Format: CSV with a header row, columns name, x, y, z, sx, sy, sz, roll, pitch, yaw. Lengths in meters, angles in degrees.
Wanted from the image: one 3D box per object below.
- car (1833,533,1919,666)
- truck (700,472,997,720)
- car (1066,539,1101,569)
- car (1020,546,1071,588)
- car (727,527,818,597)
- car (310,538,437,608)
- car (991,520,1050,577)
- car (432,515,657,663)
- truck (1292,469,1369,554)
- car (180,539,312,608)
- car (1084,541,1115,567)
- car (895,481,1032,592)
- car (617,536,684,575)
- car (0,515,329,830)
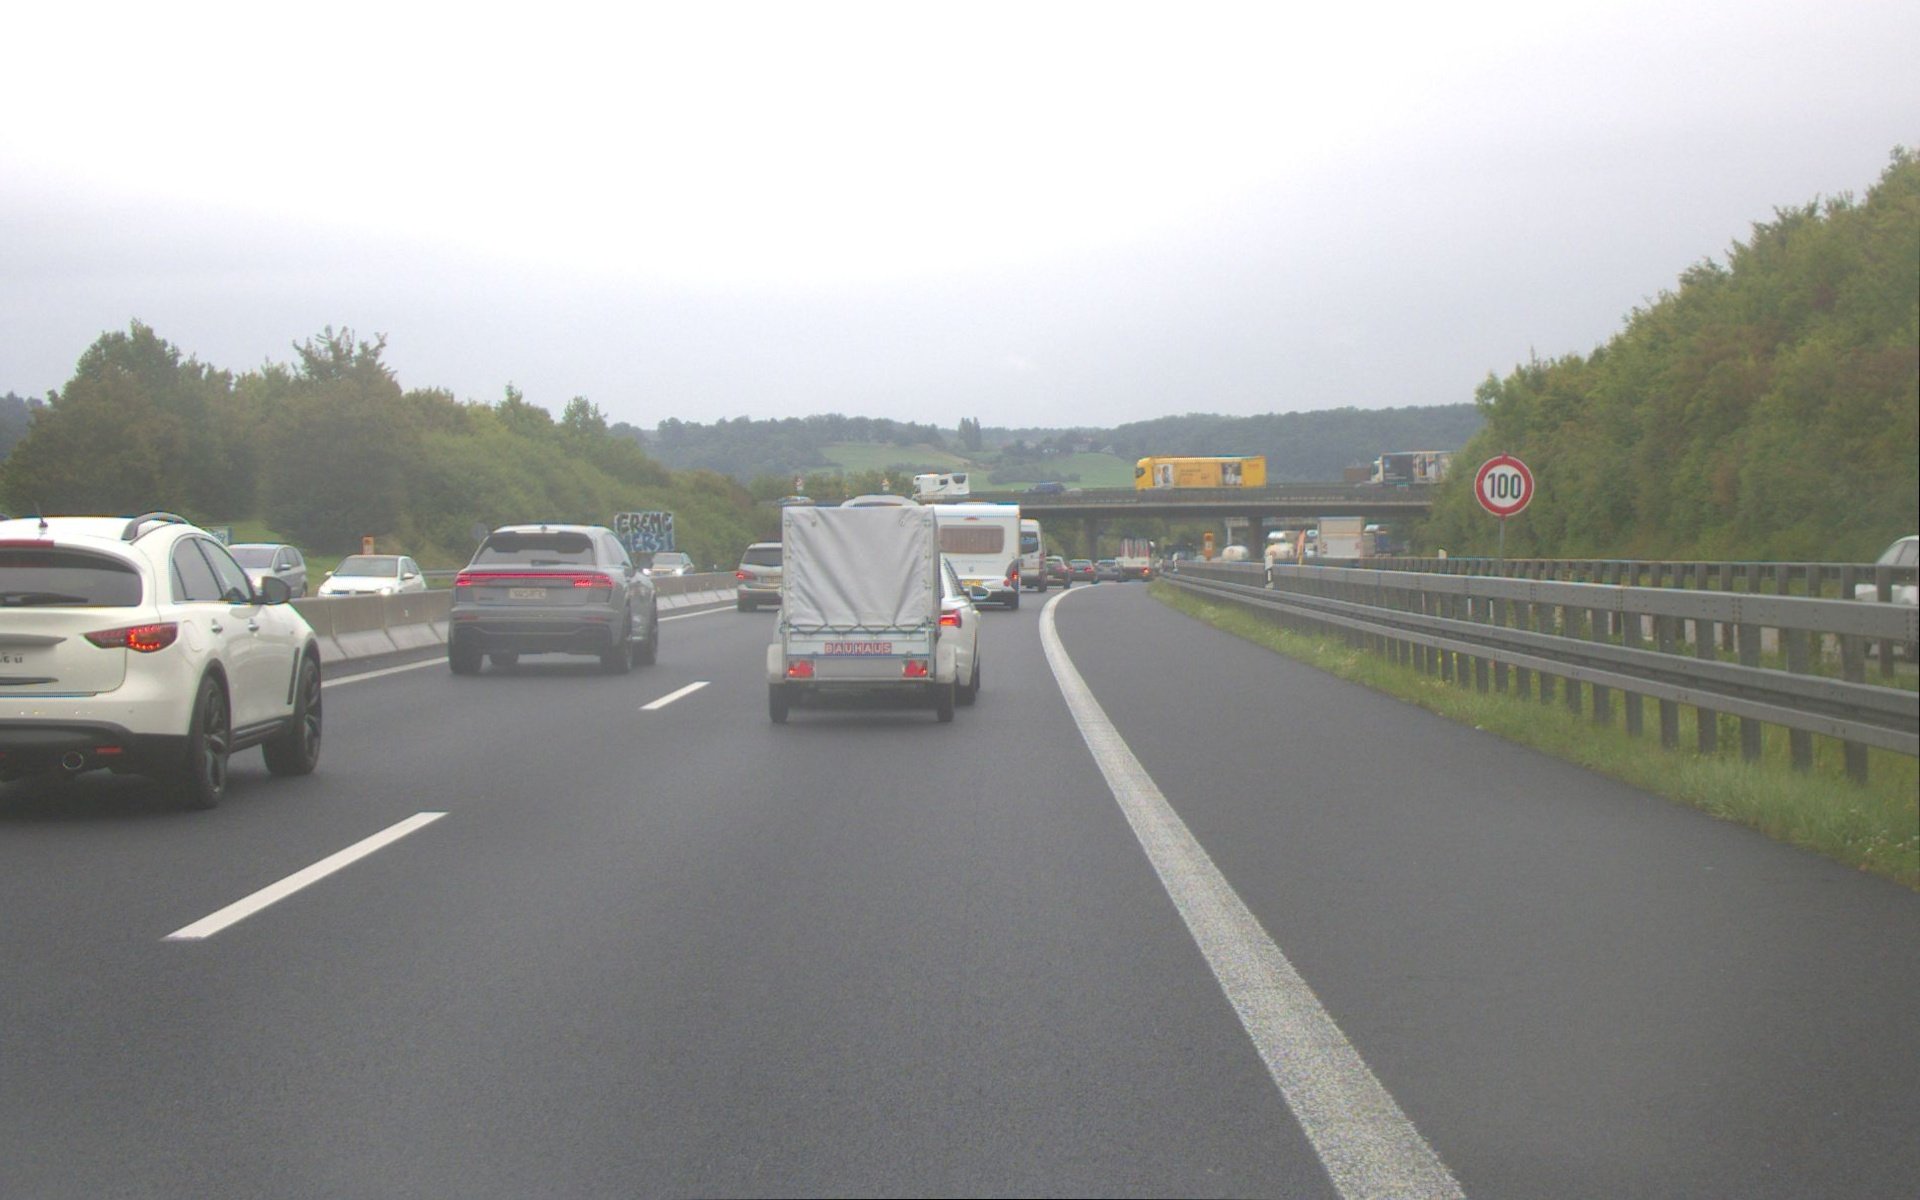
name,x,y,z,sx,sy,sz,roll,pitch,yaw
car,11.314,-0.036,38.887,1.860,1.442,4.158,0,1,1
truck,-0.854,-0.103,31.117,2.019,1.979,7.212,0,1,3
car,7.313,-2.727,203.337,1.994,1.744,4.000,1,1,3
car,3.643,-1.426,147.458,1.993,1.744,4.000,1,1,-1
car,-4.372,-0.916,80.766,1.900,1.607,4.017,0,1,0
car,-13.074,-0.630,76.861,1.983,1.501,4.140,0,1,2
car,2.236,-1.906,127.253,1.993,2.029,4.152,1,1,-1
car,-4.807,-0.158,40.352,2.174,1.626,4.501,0,1,-1
truck,22.765,-5.439,211.889,4.094,5.086,10.463,0,1,3
car,-17.544,-0.683,84.703,2.180,1.629,4.537,0,1,2
car,9.527,-3.167,234.884,1.994,1.744,4.000,1,1,4
car,0.153,-1.577,84.722,3.017,2.607,6.074,0,1,3
car,-13.856,-2.001,154.145,2.180,1.690,5.249,0,1,4
car,-5.061,0.344,20.148,1.976,1.633,4.501,0,1,-1
